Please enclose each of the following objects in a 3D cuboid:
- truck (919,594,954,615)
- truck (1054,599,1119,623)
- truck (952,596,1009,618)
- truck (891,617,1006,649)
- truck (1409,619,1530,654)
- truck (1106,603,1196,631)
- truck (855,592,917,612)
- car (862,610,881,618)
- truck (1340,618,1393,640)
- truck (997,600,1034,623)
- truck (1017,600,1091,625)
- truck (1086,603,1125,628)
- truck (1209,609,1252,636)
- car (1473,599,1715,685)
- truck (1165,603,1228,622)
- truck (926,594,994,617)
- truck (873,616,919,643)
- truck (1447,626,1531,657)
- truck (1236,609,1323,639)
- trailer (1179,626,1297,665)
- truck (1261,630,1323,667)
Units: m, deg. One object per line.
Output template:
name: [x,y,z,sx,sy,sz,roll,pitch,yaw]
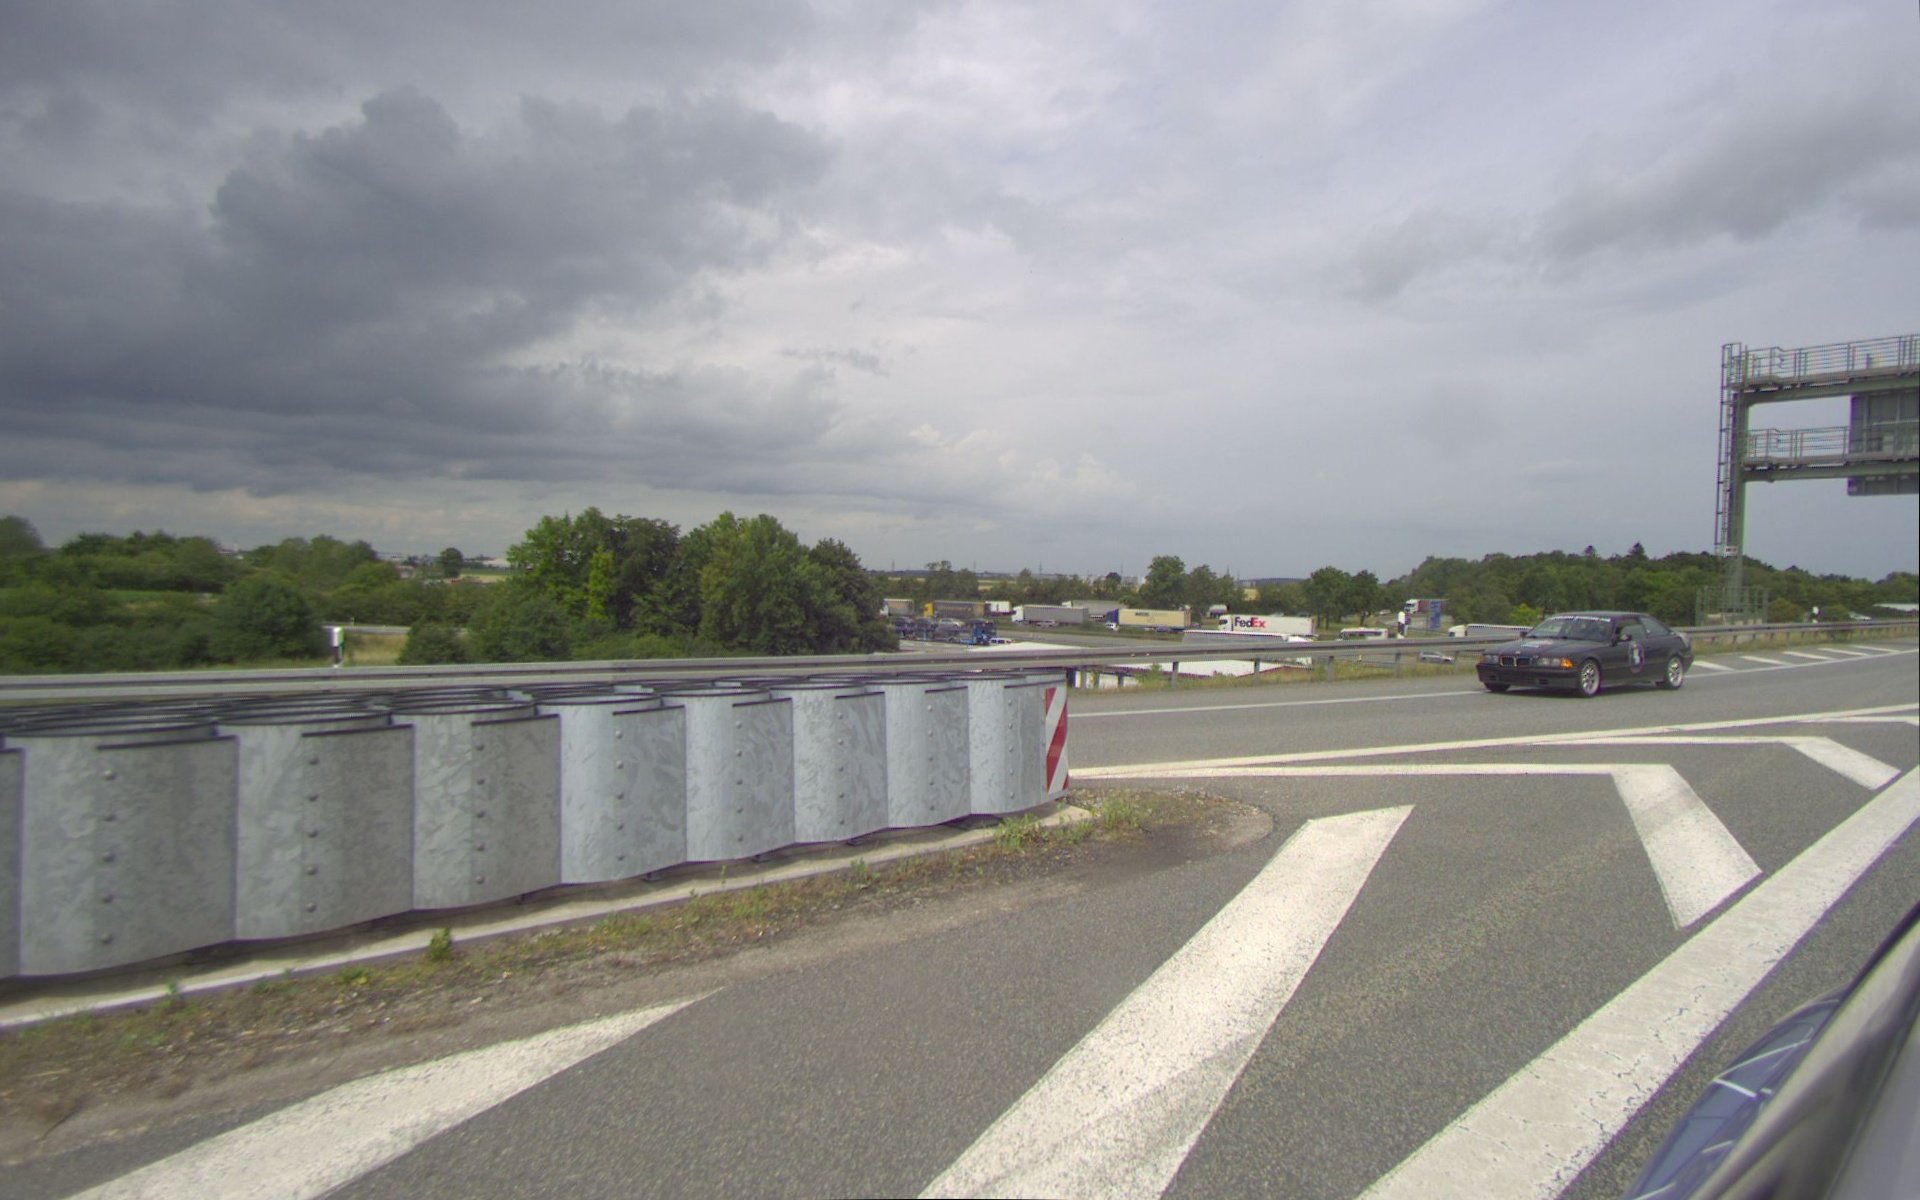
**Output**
truck: [-5.021,0.939,217.996,6.467,4.555,4.014,0,0,39]
truck: [29.450,2.627,235.471,14.579,5.281,3.860,1,-1,1]
truck: [4.842,1.631,238.590,12.787,5.105,3.941,1,-1,9]
truck: [-2.042,4.915,154.892,18.923,4.111,3.944,1,0,35]
truck: [77.734,5.458,154.718,16.080,4.759,3.941,1,0,37]
truck: [35.188,3.080,187.404,16.276,4.612,3.953,1,-1,38]
truck: [-16.623,0.440,225.654,14.811,4.083,4.087,1,0,38]
car: [-18.864,2.951,215.552,3.979,1.505,1.714,2,0,38]
truck: [63.817,4.569,158.929,7.526,3.237,2.201,1,-1,38]
truck: [11.236,2.344,205.370,6.260,4.568,3.878,1,0,38]
truck: [18.378,2.467,199.693,14.808,4.612,3.952,1,-1,39]
truck: [27.705,3.005,193.154,6.258,4.568,3.879,1,0,38]
truck: [47.460,3.904,177.621,6.259,4.568,3.879,1,0,38]
car: [10.853,0.676,17.265,4.278,1.297,1.711,1,0,-30]
truck: [56.125,2.939,240.079,14.426,4.141,3.091,1,-1,-11]
truck: [-0.068,1.062,213.882,15.231,4.612,3.951,1,-1,40]
truck: [-10.141,4.645,160.459,6.377,4.041,3.815,1,1,35]
truck: [77.626,6.024,148.688,10.711,4.123,3.200,1,-1,35]
truck: [54.311,3.982,172.335,13.713,4.612,3.954,1,-1,37]
trailer: [34.529,5.608,126.359,14.170,4.151,2.949,1,0,38]
truck: [40.002,5.795,122.133,6.493,4.151,2.949,1,0,37]
